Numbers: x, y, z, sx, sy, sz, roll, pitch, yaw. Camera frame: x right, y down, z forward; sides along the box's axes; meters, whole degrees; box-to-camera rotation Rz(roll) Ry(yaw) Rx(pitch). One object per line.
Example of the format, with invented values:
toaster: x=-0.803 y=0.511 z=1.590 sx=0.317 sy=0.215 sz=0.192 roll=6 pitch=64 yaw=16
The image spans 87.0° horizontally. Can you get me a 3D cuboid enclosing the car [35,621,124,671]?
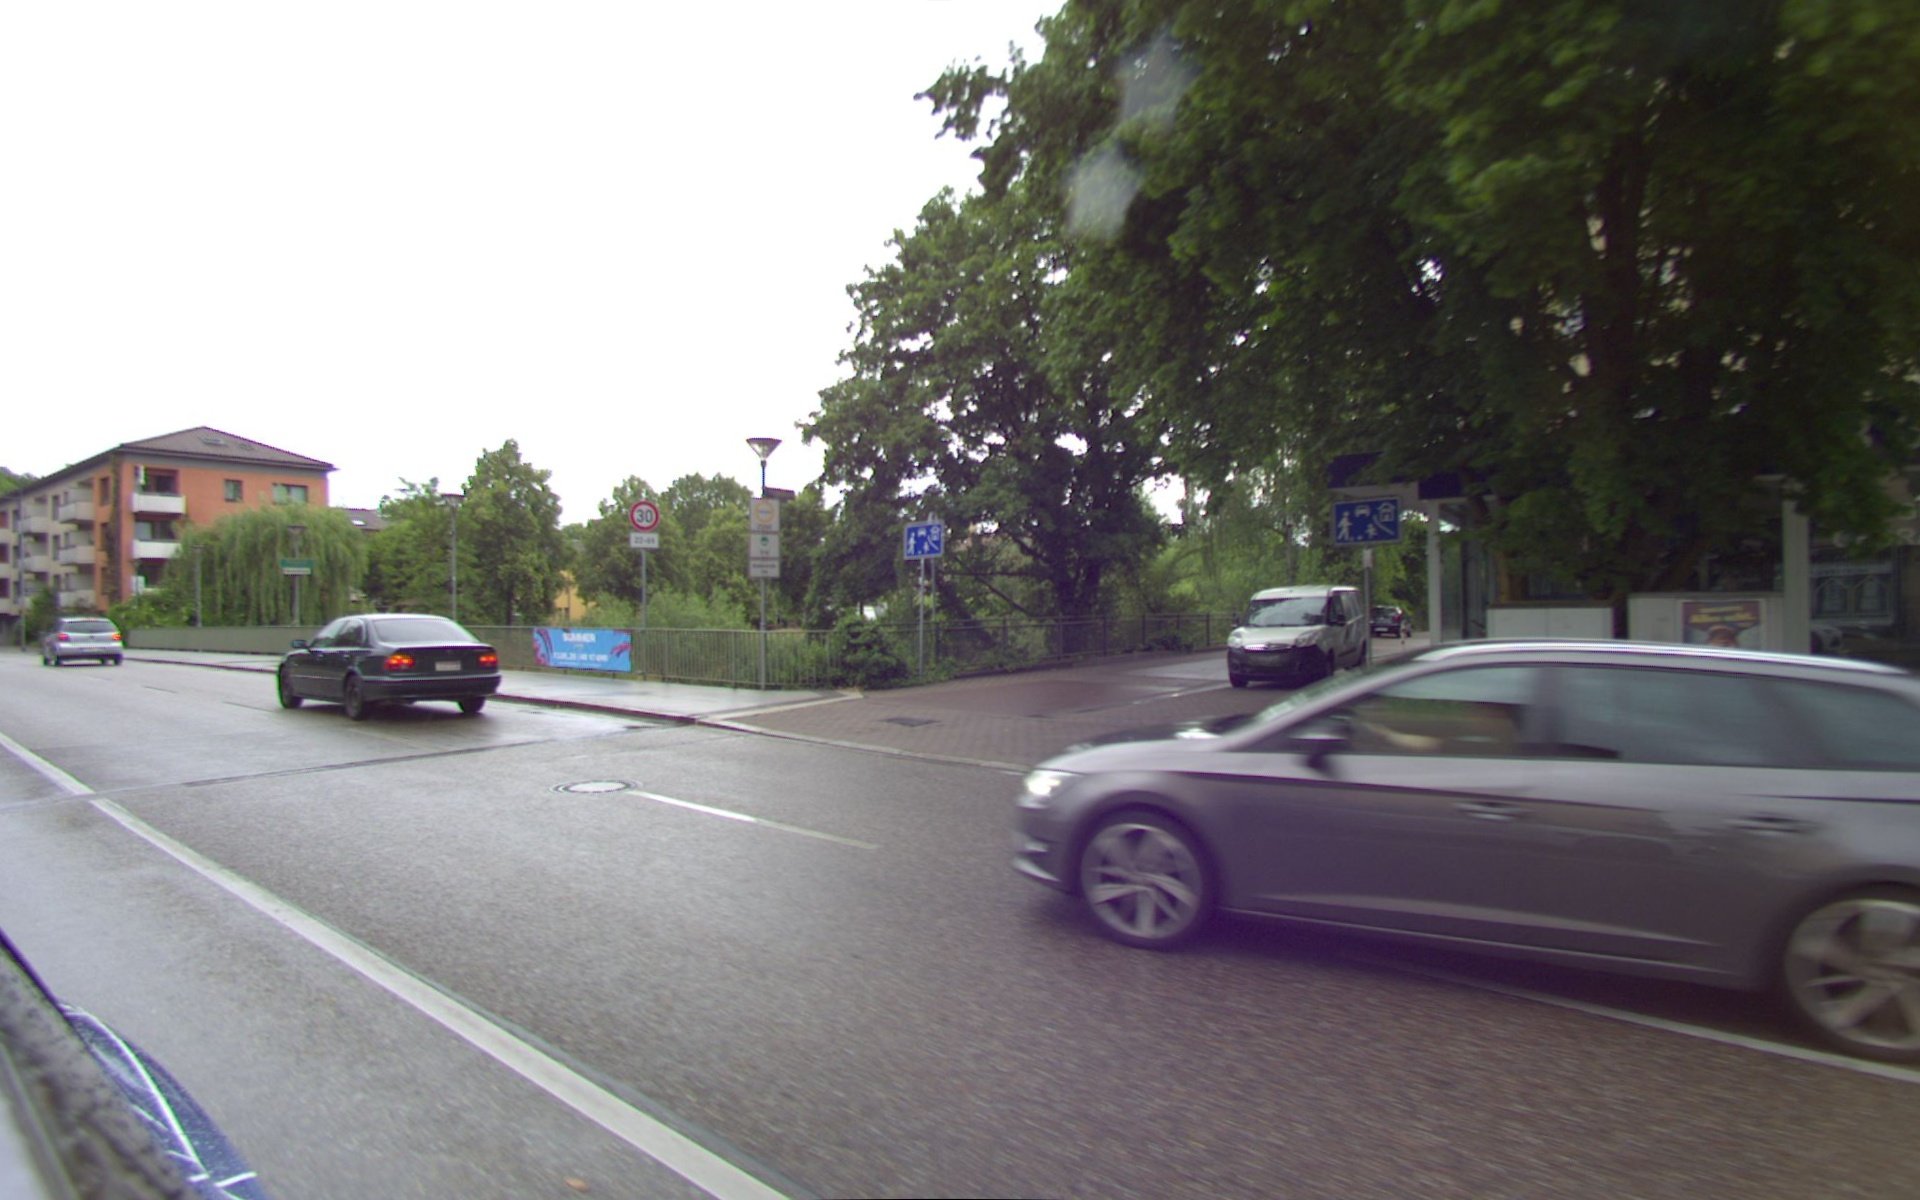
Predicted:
car: x=-27.429 y=1.395 z=31.488 sx=3.684 sy=1.430 sz=1.609 roll=-1 pitch=-1 yaw=41

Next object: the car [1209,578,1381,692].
car: x=6.497 y=0.627 z=19.251 sx=1.993 sy=1.868 sz=4.706 roll=-4 pitch=-2 yaw=32

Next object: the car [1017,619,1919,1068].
car: x=2.523 y=0.833 z=4.579 sx=4.180 sy=1.461 sz=1.803 roll=-1 pitch=-1 yaw=23

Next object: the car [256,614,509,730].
car: x=-8.641 y=0.949 z=15.003 sx=4.422 sy=1.470 sz=1.712 roll=0 pitch=-1 yaw=38

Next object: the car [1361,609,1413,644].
car: x=20.399 y=1.262 z=48.282 sx=1.735 sy=1.593 sz=3.844 roll=-2 pitch=-1 yaw=31
